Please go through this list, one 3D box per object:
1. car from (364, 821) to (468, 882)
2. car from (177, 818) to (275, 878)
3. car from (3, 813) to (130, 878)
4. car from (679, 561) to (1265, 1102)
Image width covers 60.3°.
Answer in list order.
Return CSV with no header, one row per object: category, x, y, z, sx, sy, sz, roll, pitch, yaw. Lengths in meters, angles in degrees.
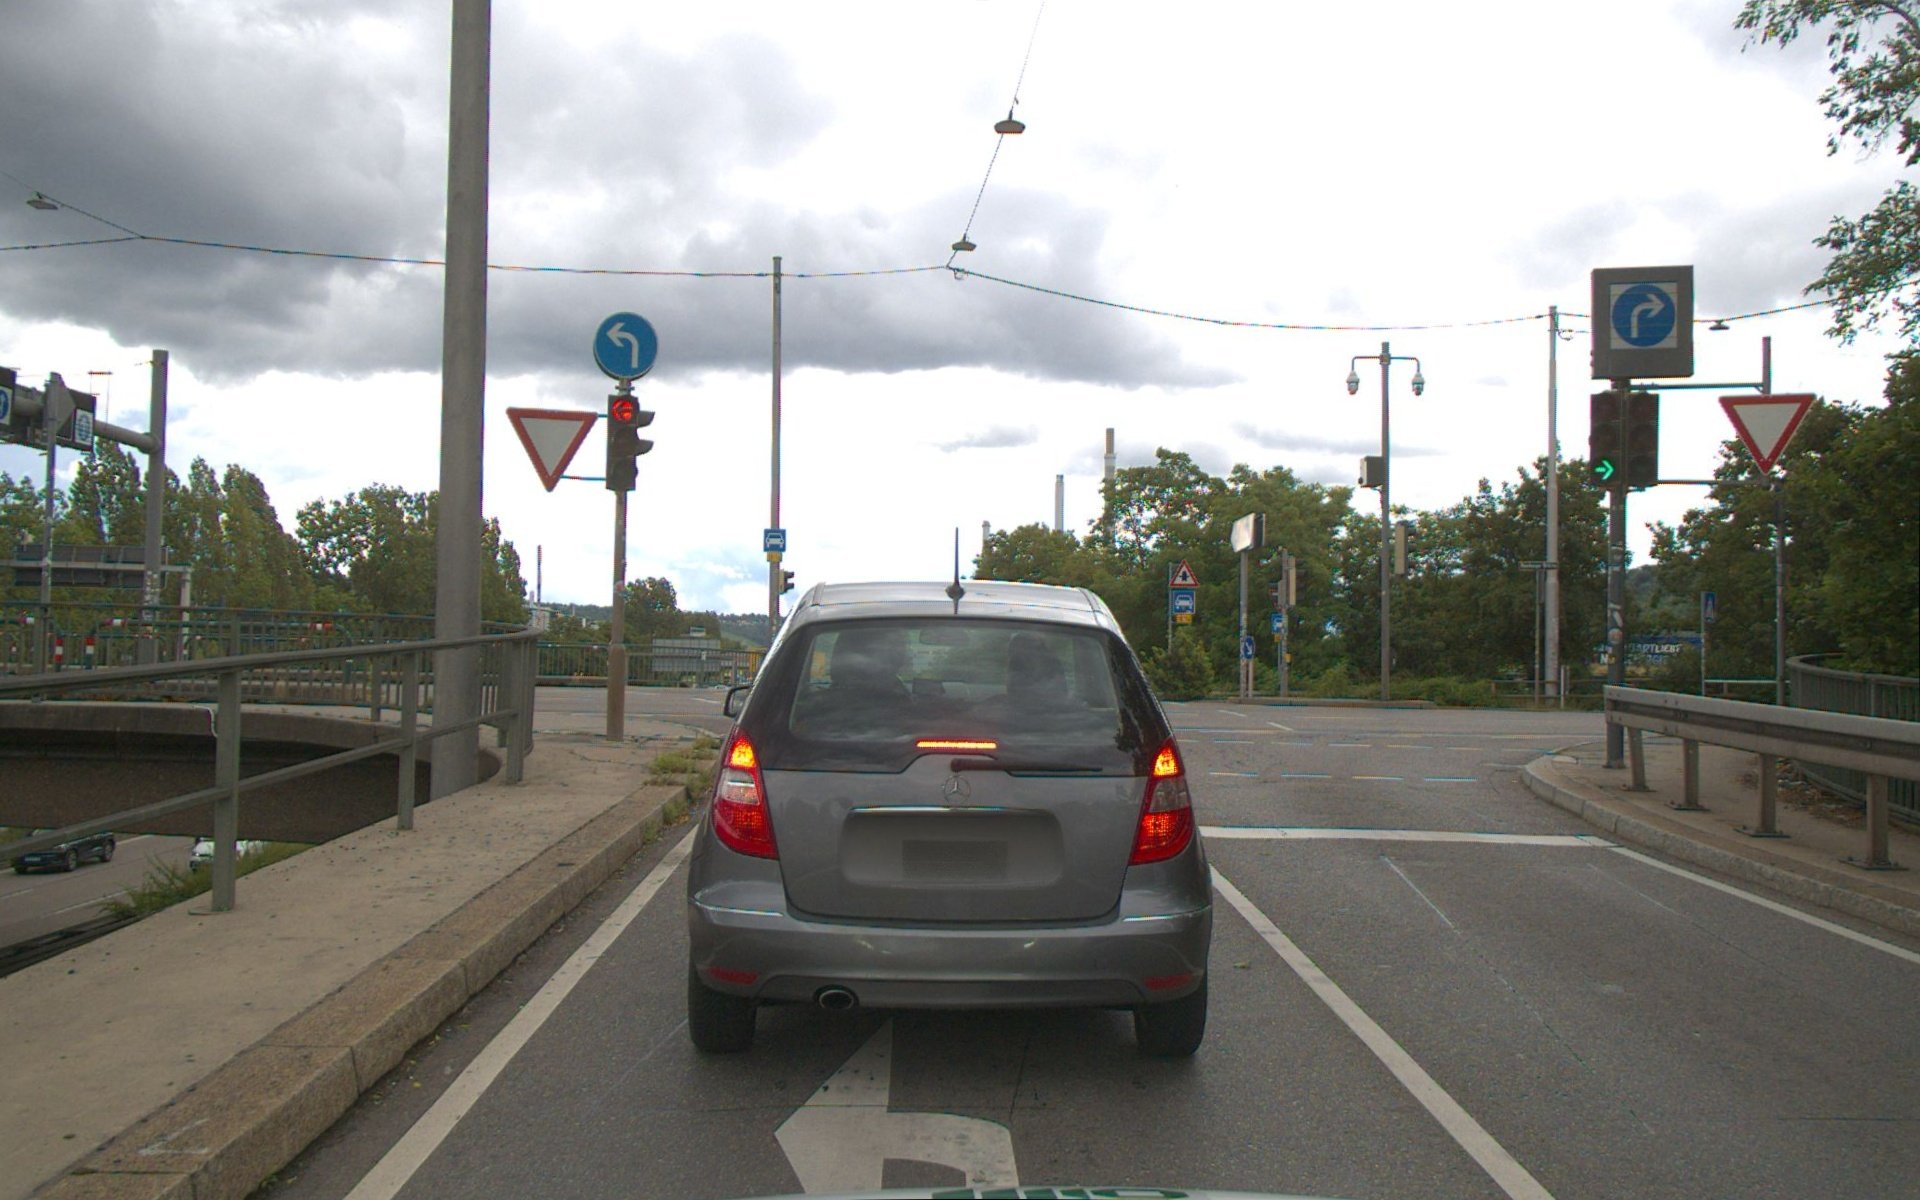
car,-17.564,8.119,53.622,1.820,1.491,4.424,1,-3,0
car,-24.793,8.364,56.011,1.739,1.520,3.894,-2,-2,-3
car,-30.604,8.383,56.810,1.953,1.654,4.577,-2,-2,-1
car,0.021,0.691,6.643,1.704,1.570,3.540,1,0,-1
